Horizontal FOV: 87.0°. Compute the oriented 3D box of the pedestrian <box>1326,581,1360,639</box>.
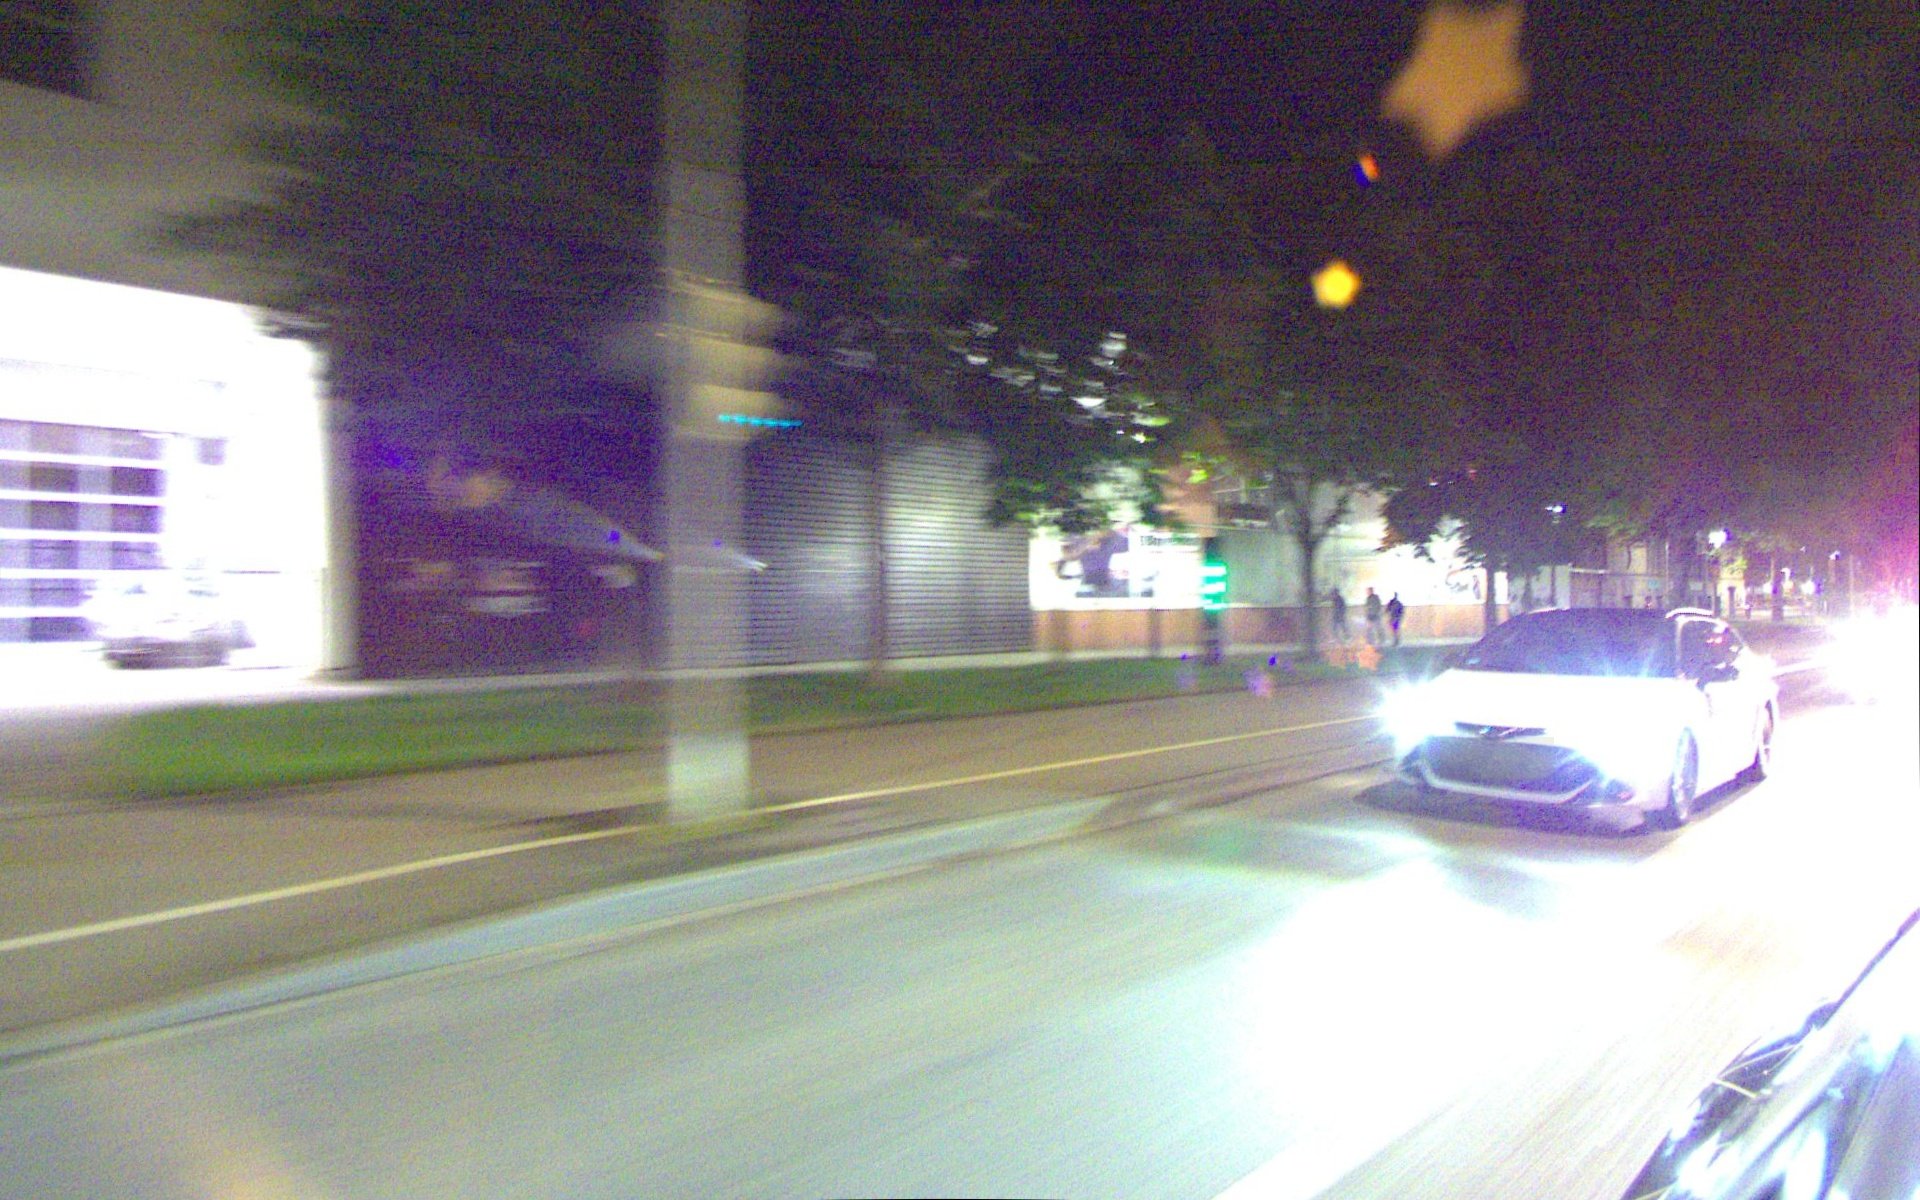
[{"bbox_3d":[12.414,0.310,32.785,0.890,1.840,0.675,0,0,-41],"label":"pedestrian"}]

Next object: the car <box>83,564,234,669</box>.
[{"bbox_3d":[-13.778,0.228,17.311,1.687,1.585,3.954,-1,1,-43],"label":"car"}]

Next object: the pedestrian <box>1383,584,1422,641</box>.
[{"bbox_3d":[13.730,0.369,31.396,0.968,1.738,0.736,0,0,-41],"label":"pedestrian"}]

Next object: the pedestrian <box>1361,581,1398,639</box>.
[{"bbox_3d":[13.381,0.316,32.257,0.953,1.811,0.720,0,0,-41],"label":"pedestrian"}]

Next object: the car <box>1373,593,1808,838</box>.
[{"bbox_3d":[5.215,0.687,8.104,4.419,1.448,1.727,0,-1,-41],"label":"car"}]

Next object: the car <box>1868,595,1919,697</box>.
[{"bbox_3d":[15.329,0.648,15.547,3.774,1.457,1.632,0,-1,-42],"label":"car"}]
